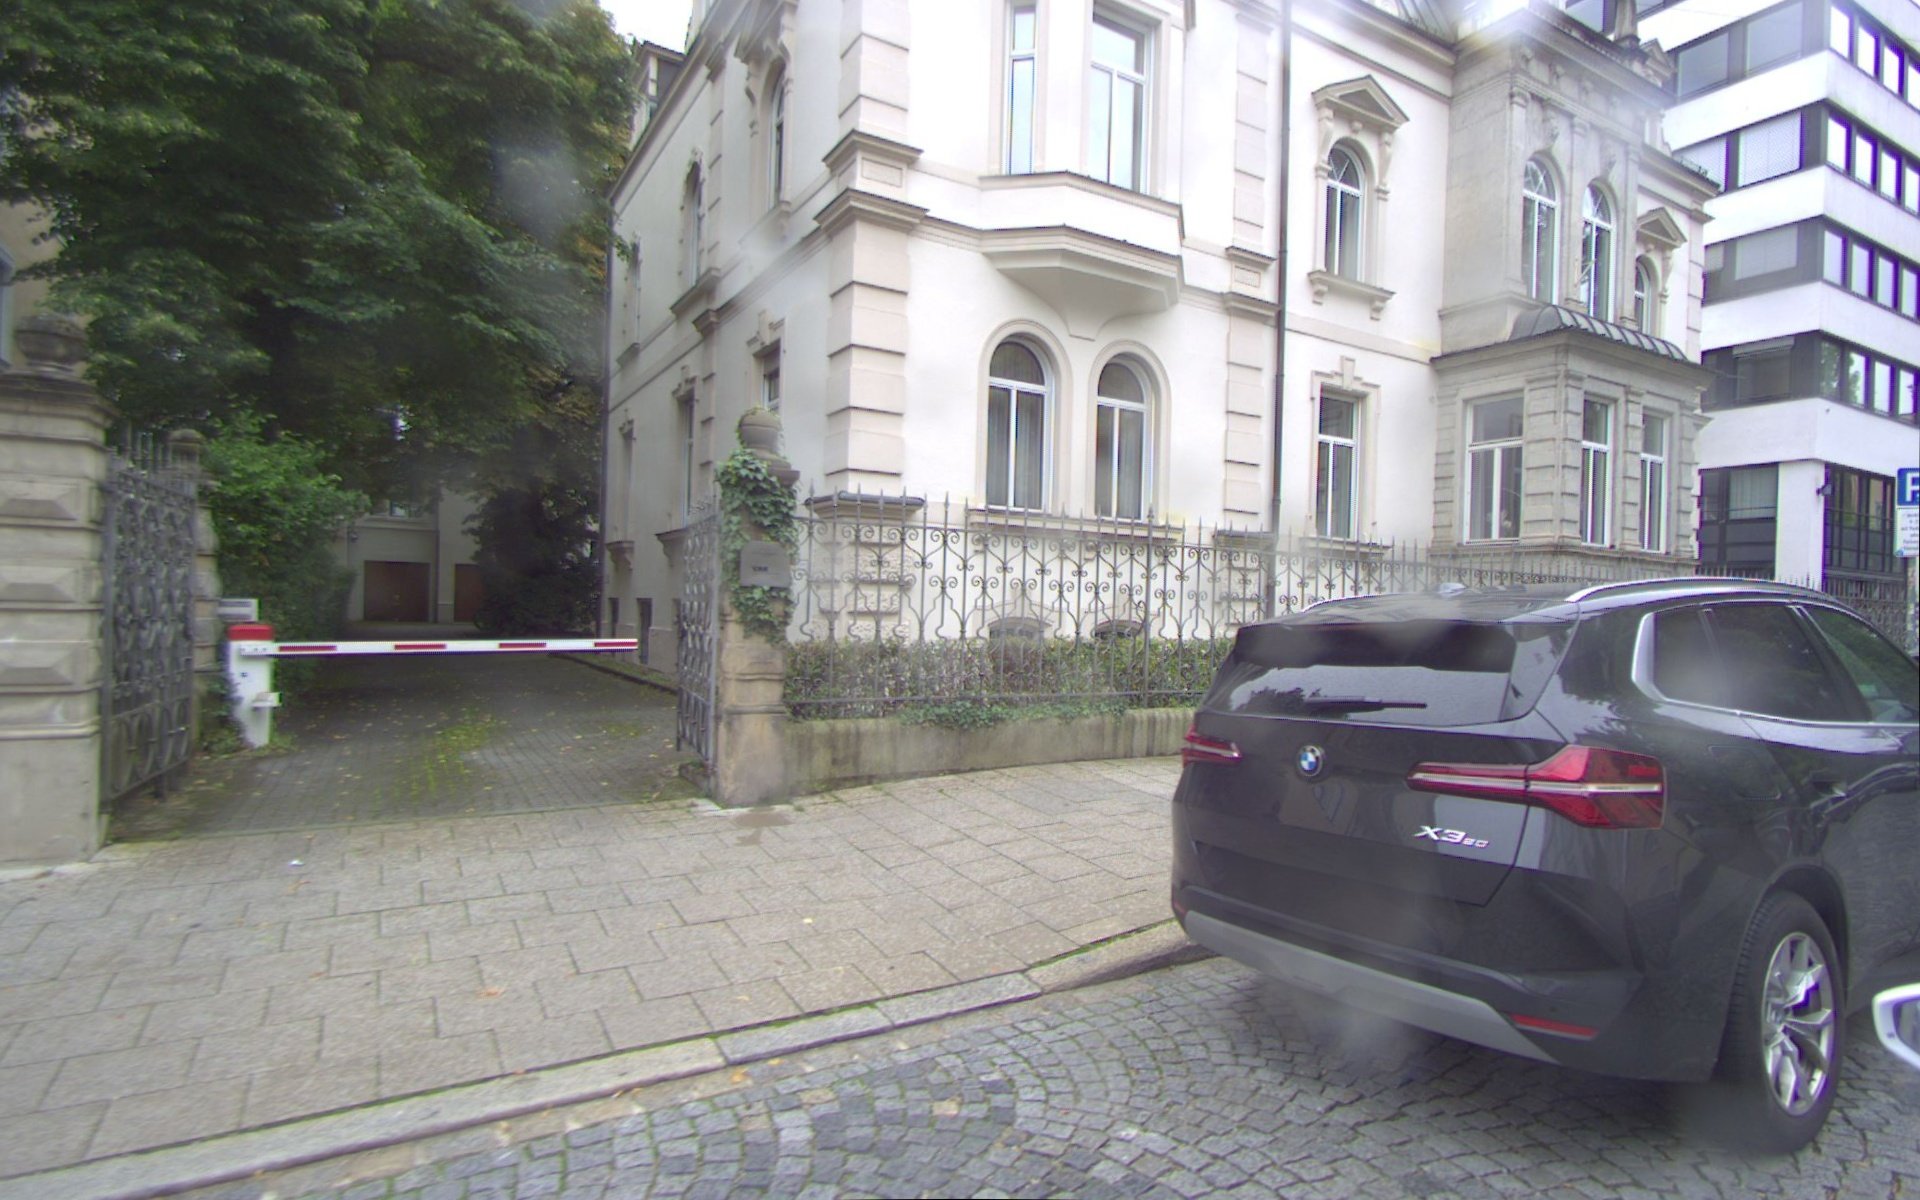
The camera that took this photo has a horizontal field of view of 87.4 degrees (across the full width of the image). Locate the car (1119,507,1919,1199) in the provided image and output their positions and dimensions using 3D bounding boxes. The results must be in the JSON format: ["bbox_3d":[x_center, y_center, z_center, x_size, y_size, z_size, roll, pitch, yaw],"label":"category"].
[{"bbox_3d":[2.898,0.640,4.144,4.341,1.741,1.764,0,1,-32],"label":"car"}]

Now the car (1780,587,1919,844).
[{"bbox_3d":[7.418,0.738,6.599,4.013,1.478,1.929,2,0,-32],"label":"car"}]
